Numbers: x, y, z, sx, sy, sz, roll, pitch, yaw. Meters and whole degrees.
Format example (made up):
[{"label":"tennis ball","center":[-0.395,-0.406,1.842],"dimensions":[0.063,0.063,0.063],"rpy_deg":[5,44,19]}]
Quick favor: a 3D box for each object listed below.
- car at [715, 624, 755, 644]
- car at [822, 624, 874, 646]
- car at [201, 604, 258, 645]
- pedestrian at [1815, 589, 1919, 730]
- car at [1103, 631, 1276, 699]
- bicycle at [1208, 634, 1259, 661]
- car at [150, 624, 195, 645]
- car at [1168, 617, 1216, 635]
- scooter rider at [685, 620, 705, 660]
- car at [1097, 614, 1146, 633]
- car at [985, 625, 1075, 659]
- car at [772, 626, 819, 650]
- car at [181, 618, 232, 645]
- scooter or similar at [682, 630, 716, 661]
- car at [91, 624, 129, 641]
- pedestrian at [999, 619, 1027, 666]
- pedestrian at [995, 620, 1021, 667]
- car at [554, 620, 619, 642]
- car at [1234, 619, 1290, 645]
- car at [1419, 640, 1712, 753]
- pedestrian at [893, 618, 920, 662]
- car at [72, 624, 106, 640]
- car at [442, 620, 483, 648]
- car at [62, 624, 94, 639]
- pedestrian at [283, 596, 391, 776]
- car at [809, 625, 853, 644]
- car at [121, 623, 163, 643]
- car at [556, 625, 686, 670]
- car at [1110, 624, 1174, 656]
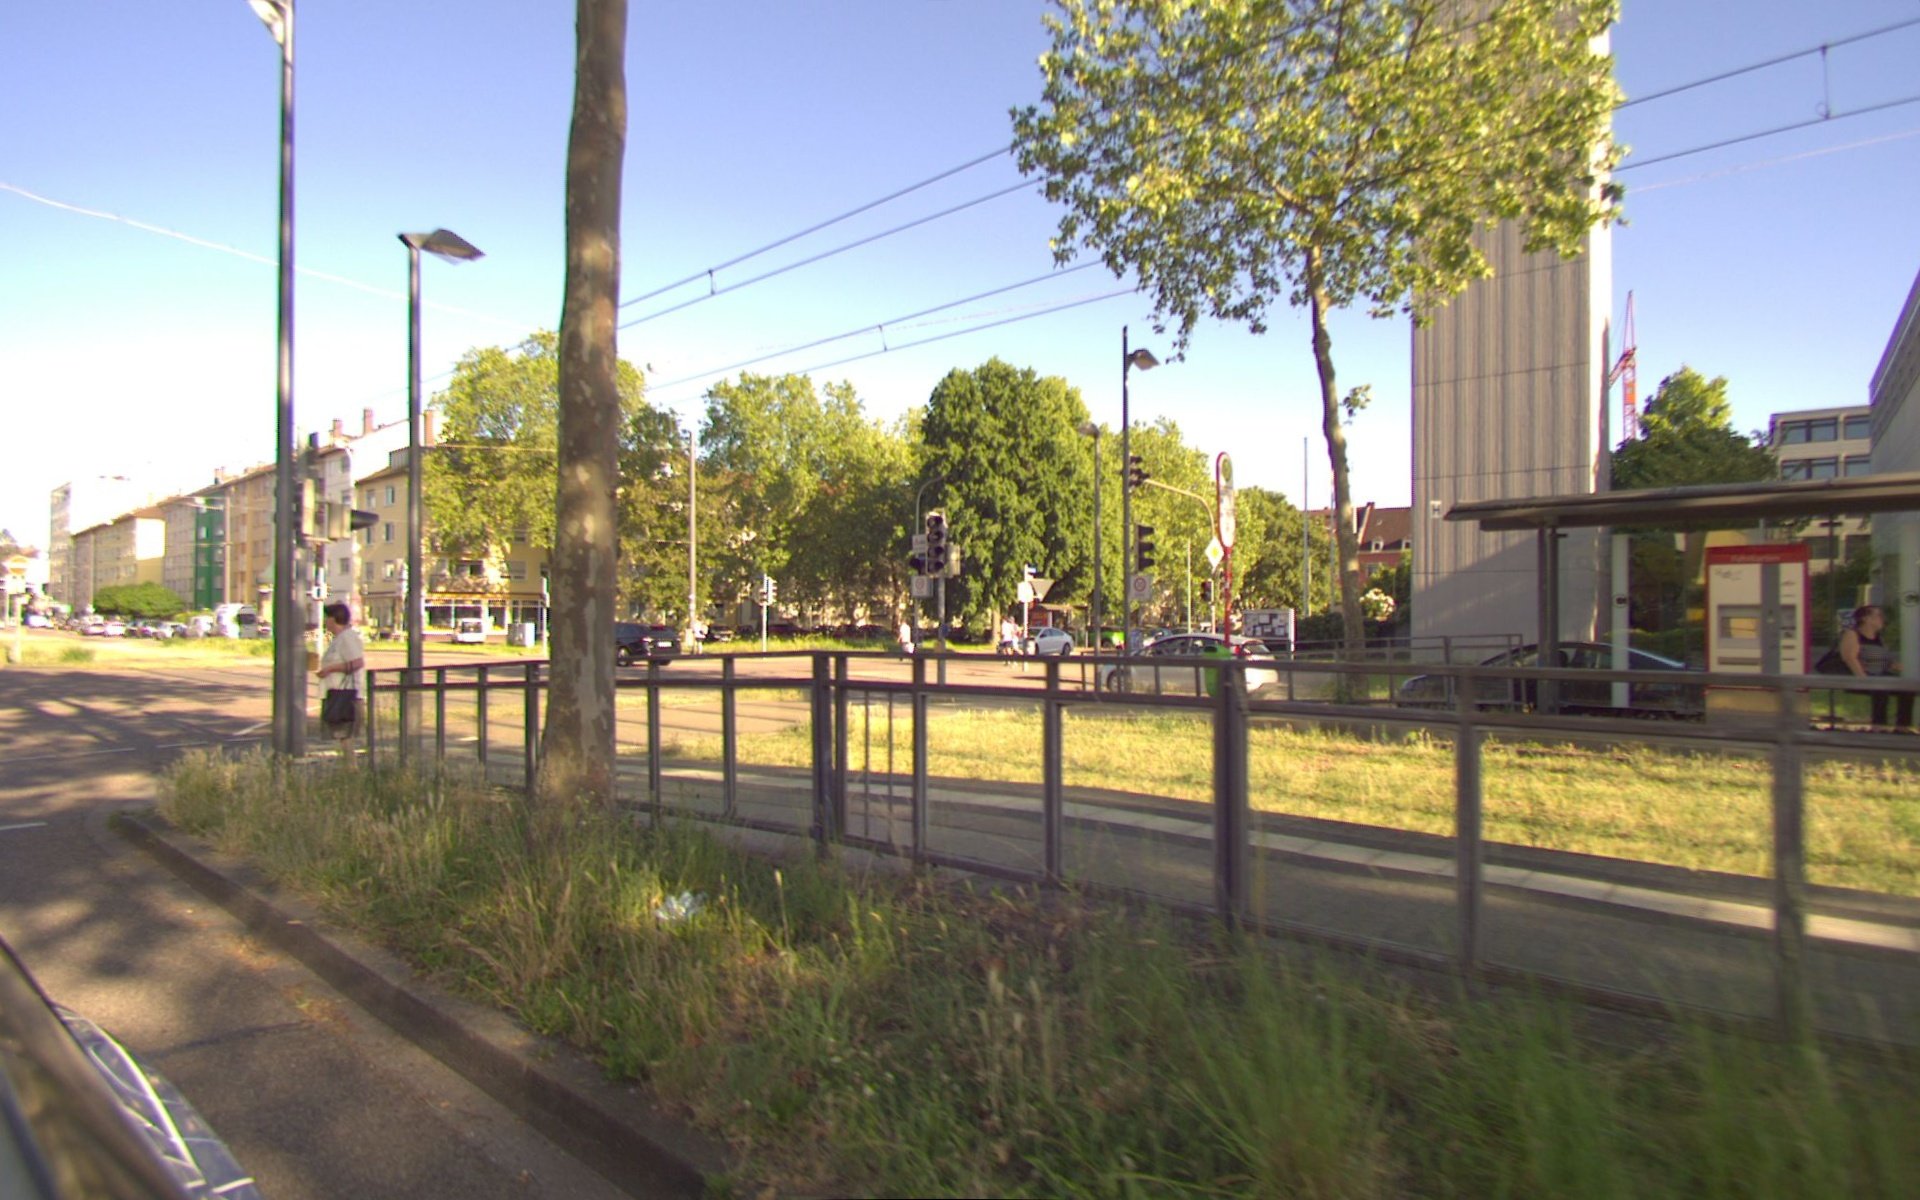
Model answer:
[{"label":"car","center":[-18.098,2.708,81.240],"dimensions":[1.649,1.619,3.943],"rpy_deg":[1,-2,-37]},{"label":"car","center":[-8.152,2.520,73.512],"dimensions":[1.967,1.564,3.943],"rpy_deg":[1,-2,-37]},{"label":"car","center":[-52.453,1.758,72.601],"dimensions":[5.227,2.846,2.202],"rpy_deg":[-1,-2,42]},{"label":"pedestrian","center":[9.271,0.586,10.237],"dimensions":[0.722,1.352,0.775],"rpy_deg":[1,-2,-35]},{"label":"car","center":[4.903,1.345,21.827],"dimensions":[3.410,1.335,1.313],"rpy_deg":[-1,-2,36]},{"label":"bicycle","center":[9.694,1.667,35.930],"dimensions":[1.697,0.935,0.441],"rpy_deg":[-1,-2,38]},{"label":"car","center":[-66.379,2.900,85.280],"dimensions":[5.155,1.720,2.117],"rpy_deg":[-1,-2,42]},{"label":"car","center":[20.761,2.317,90.561],"dimensions":[1.966,1.564,3.946],"rpy_deg":[1,-2,-31]},{"label":"scooter rider","center":[-11.505,1.747,43.944],"dimensions":[0.572,1.708,0.589],"rpy_deg":[-1,-2,35]},{"label":"car","center":[14.018,2.052,87.898],"dimensions":[1.967,1.564,3.943],"rpy_deg":[1,-2,-37]},{"label":"car","center":[3.341,1.940,47.658],"dimensions":[1.999,1.498,4.467],"rpy_deg":[-2,-2,41]},{"label":"car","center":[-12.549,2.877,77.040],"dimensions":[1.967,1.718,3.943],"rpy_deg":[1,-2,-37]},{"label":"car","center":[-57.703,2.385,77.494],"dimensions":[5.155,2.050,2.117],"rpy_deg":[-1,-2,42]},{"label":"scooter or similar","center":[-11.317,1.978,43.800],"dimensions":[1.538,1.319,0.591],"rpy_deg":[-1,-2,36]},{"label":"car","center":[-85.629,3.241,101.931],"dimensions":[5.444,1.720,2.117],"rpy_deg":[-1,-2,42]},{"label":"pedestrian","center":[1.988,1.585,37.982],"dimensions":[0.878,1.736,0.589],"rpy_deg":[-1,-2,36]},{"label":"pedestrian","center":[1.749,1.586,36.781],"dimensions":[0.746,1.694,0.589],"rpy_deg":[-1,-2,35]},{"label":"car","center":[-25.189,2.106,68.273],"dimensions":[3.930,1.448,1.723],"rpy_deg":[1,-1,-26]},{"label":"car","center":[24.682,2.630,82.781],"dimensions":[3.997,2.029,1.973],"rpy_deg":[-1,-1,41]},{"label":"car","center":[7.528,1.131,12.717],"dimensions":[2.965,1.213,1.310],"rpy_deg":[-1,-2,42]},{"label":"pedestrian","center":[-2.120,1.589,39.980],"dimensions":[0.878,1.708,0.589],"rpy_deg":[-1,-2,36]},{"label":"car","center":[-95.346,3.457,110.797],"dimensions":[5.400,1.720,2.117],"rpy_deg":[-1,-2,42]},{"label":"car","center":[-35.056,2.354,71.256],"dimensions":[1.882,1.896,4.008],"rpy_deg":[1,-2,-37]},{"label":"car","center":[-100.556,3.563,115.369],"dimensions":[5.400,1.720,2.117],"rpy_deg":[-1,-2,42]},{"label":"pedestrian","center":[-5.593,0.744,9.099],"dimensions":[0.537,1.540,0.653],"rpy_deg":[-1,-2,34]},{"label":"car","center":[-10.753,2.858,84.235],"dimensions":[1.967,1.564,3.943],"rpy_deg":[1,-1,-37]},{"label":"car","center":[-74.102,2.985,91.672],"dimensions":[5.444,1.720,2.117],"rpy_deg":[-1,-2,42]},{"label":"car","center":[-11.628,1.575,34.611],"dimensions":[4.517,1.453,1.933],"rpy_deg":[-1,-2,35]},{"label":"car","center":[10.240,2.234,56.732],"dimensions":[1.786,1.728,3.945],"rpy_deg":[-2,-2,41]}]
